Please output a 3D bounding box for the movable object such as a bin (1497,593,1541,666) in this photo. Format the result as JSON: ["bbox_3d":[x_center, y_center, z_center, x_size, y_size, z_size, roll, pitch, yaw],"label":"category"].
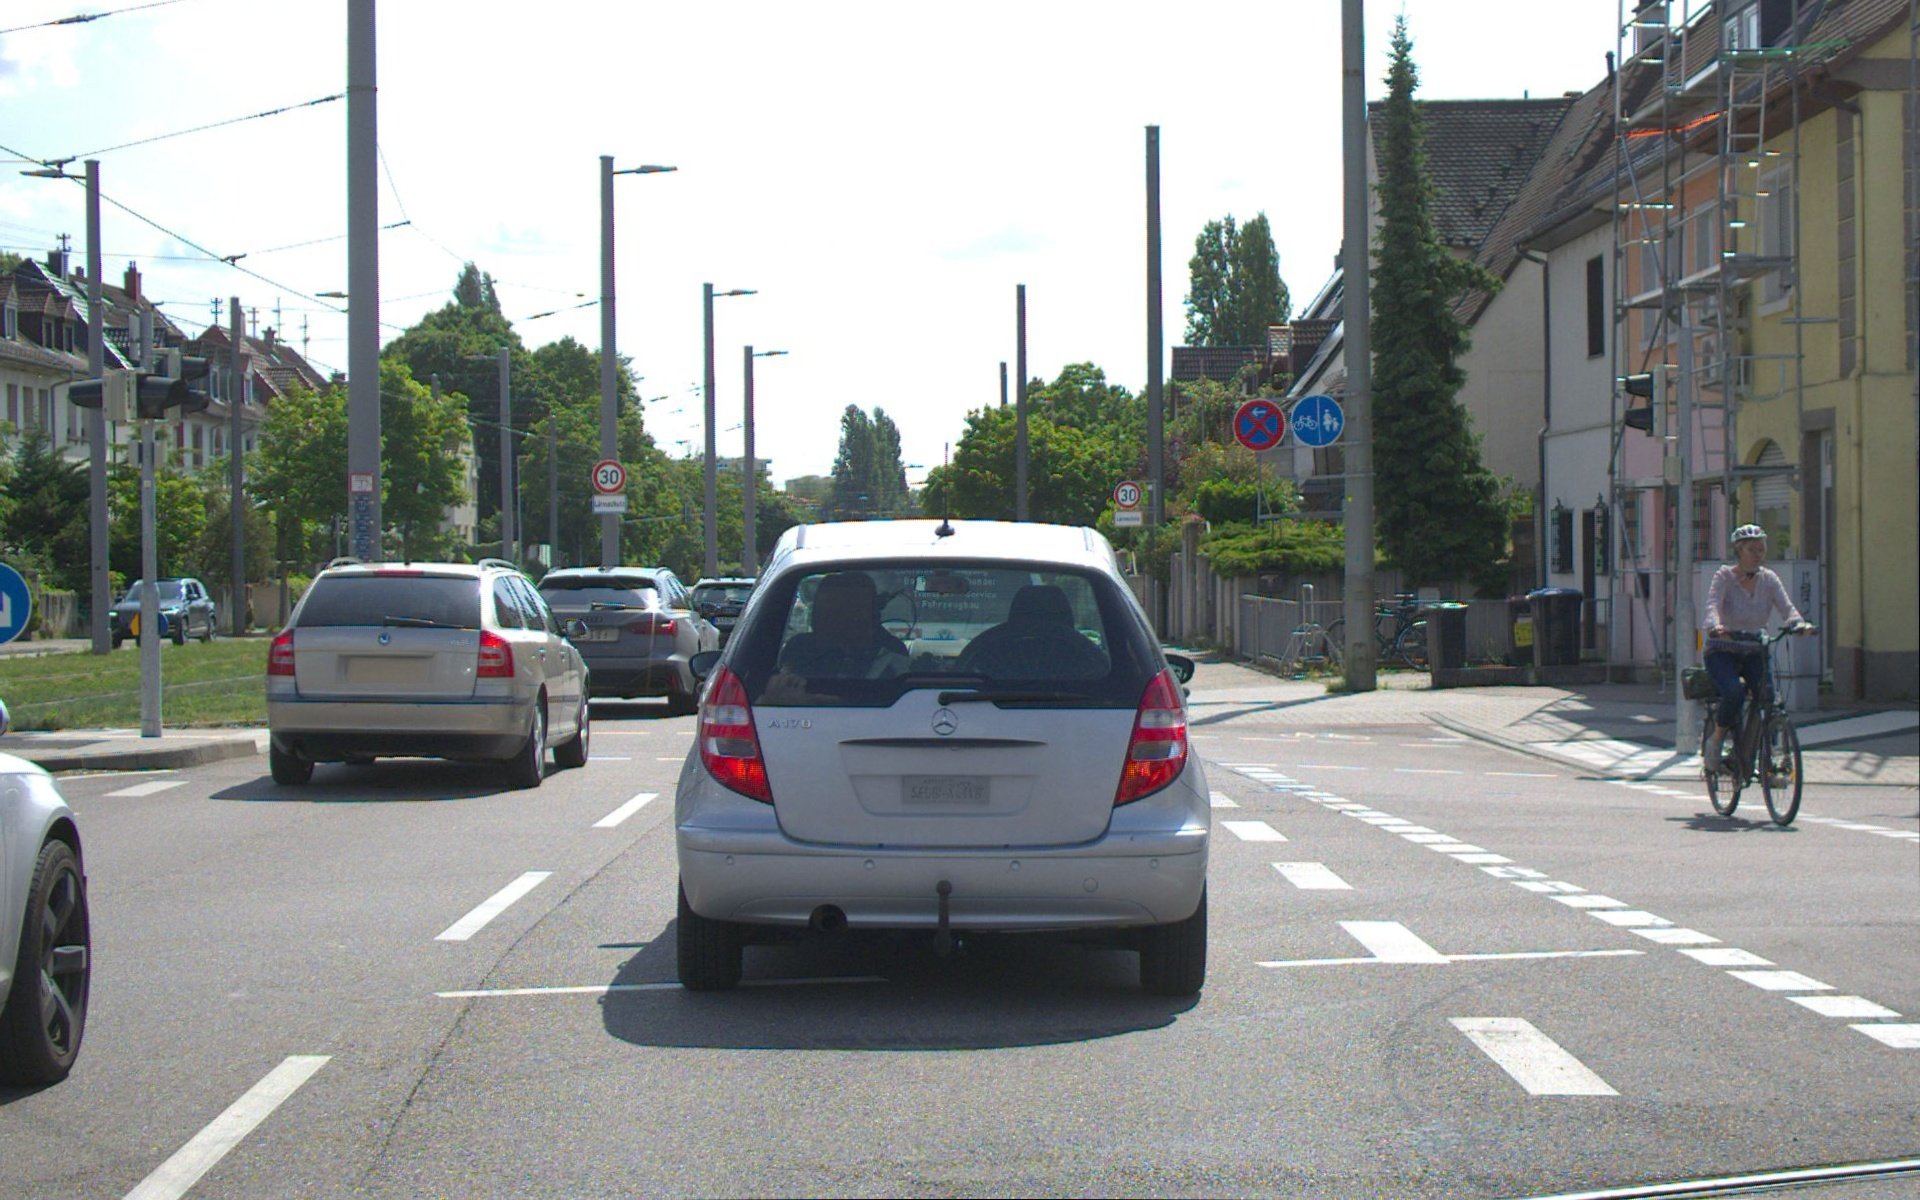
[{"bbox_3d":[7.318,0.382,45.020,0.468,0.943,0.558,0,0,0],"label":"movable object such as a bin"}]

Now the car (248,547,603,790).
[{"bbox_3d":[-3.511,0.391,23.257,1.731,1.444,4.123,1,1,0],"label":"car"}]

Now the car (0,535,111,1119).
[{"bbox_3d":[-3.277,0.575,7.417,1.794,1.467,4.722,1,1,-1],"label":"car"}]

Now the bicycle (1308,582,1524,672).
[{"bbox_3d":[5.901,0.342,44.578,2.661,1.101,0.786,-1,0,-1],"label":"bicycle"}]

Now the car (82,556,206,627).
[{"bbox_3d":[-20.583,-0.204,86.905,2.014,1.706,4.937,-1,0,-1],"label":"car"}]

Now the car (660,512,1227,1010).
[{"bbox_3d":[-0.105,0.499,12.720,1.730,1.512,4.017,1,0,-2],"label":"car"}]

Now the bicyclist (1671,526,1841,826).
[{"bbox_3d":[4.744,0.443,20.533,0.650,1.732,0.984,1,0,-7],"label":"bicyclist"}]

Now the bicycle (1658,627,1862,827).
[{"bbox_3d":[4.740,0.733,20.471,0.650,1.114,1.588,1,0,-7],"label":"bicycle"}]

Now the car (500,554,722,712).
[{"bbox_3d":[-3.508,0.305,35.266,1.916,1.472,4.562,1,0,-2],"label":"car"}]

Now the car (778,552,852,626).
[{"bbox_3d":[-3.772,-0.291,89.918,1.852,1.837,3.919,1,0,-2],"label":"car"}]

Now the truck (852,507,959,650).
[{"bbox_3d":[-1.073,-0.394,65.091,1.852,2.543,5.855,1,0,-2],"label":"truck"}]

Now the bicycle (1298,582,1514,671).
[{"bbox_3d":[5.870,0.348,45.307,2.726,1.116,0.691,-1,0,-1],"label":"bicycle"}]

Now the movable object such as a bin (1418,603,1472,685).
[{"bbox_3d":[5.517,0.497,39.144,0.511,0.915,0.741,0,0,0],"label":"movable object such as a bin"}]

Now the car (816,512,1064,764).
[{"bbox_3d":[-0.127,0.267,26.532,1.730,1.756,4.016,1,0,0],"label":"car"}]

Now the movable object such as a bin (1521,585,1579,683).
[{"bbox_3d":[6.728,0.383,39.246,0.511,1.101,0.855,0,0,0],"label":"movable object such as a bin"}]

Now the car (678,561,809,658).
[{"bbox_3d":[-3.285,0.133,52.897,1.852,1.384,4.514,1,0,-2],"label":"car"}]
